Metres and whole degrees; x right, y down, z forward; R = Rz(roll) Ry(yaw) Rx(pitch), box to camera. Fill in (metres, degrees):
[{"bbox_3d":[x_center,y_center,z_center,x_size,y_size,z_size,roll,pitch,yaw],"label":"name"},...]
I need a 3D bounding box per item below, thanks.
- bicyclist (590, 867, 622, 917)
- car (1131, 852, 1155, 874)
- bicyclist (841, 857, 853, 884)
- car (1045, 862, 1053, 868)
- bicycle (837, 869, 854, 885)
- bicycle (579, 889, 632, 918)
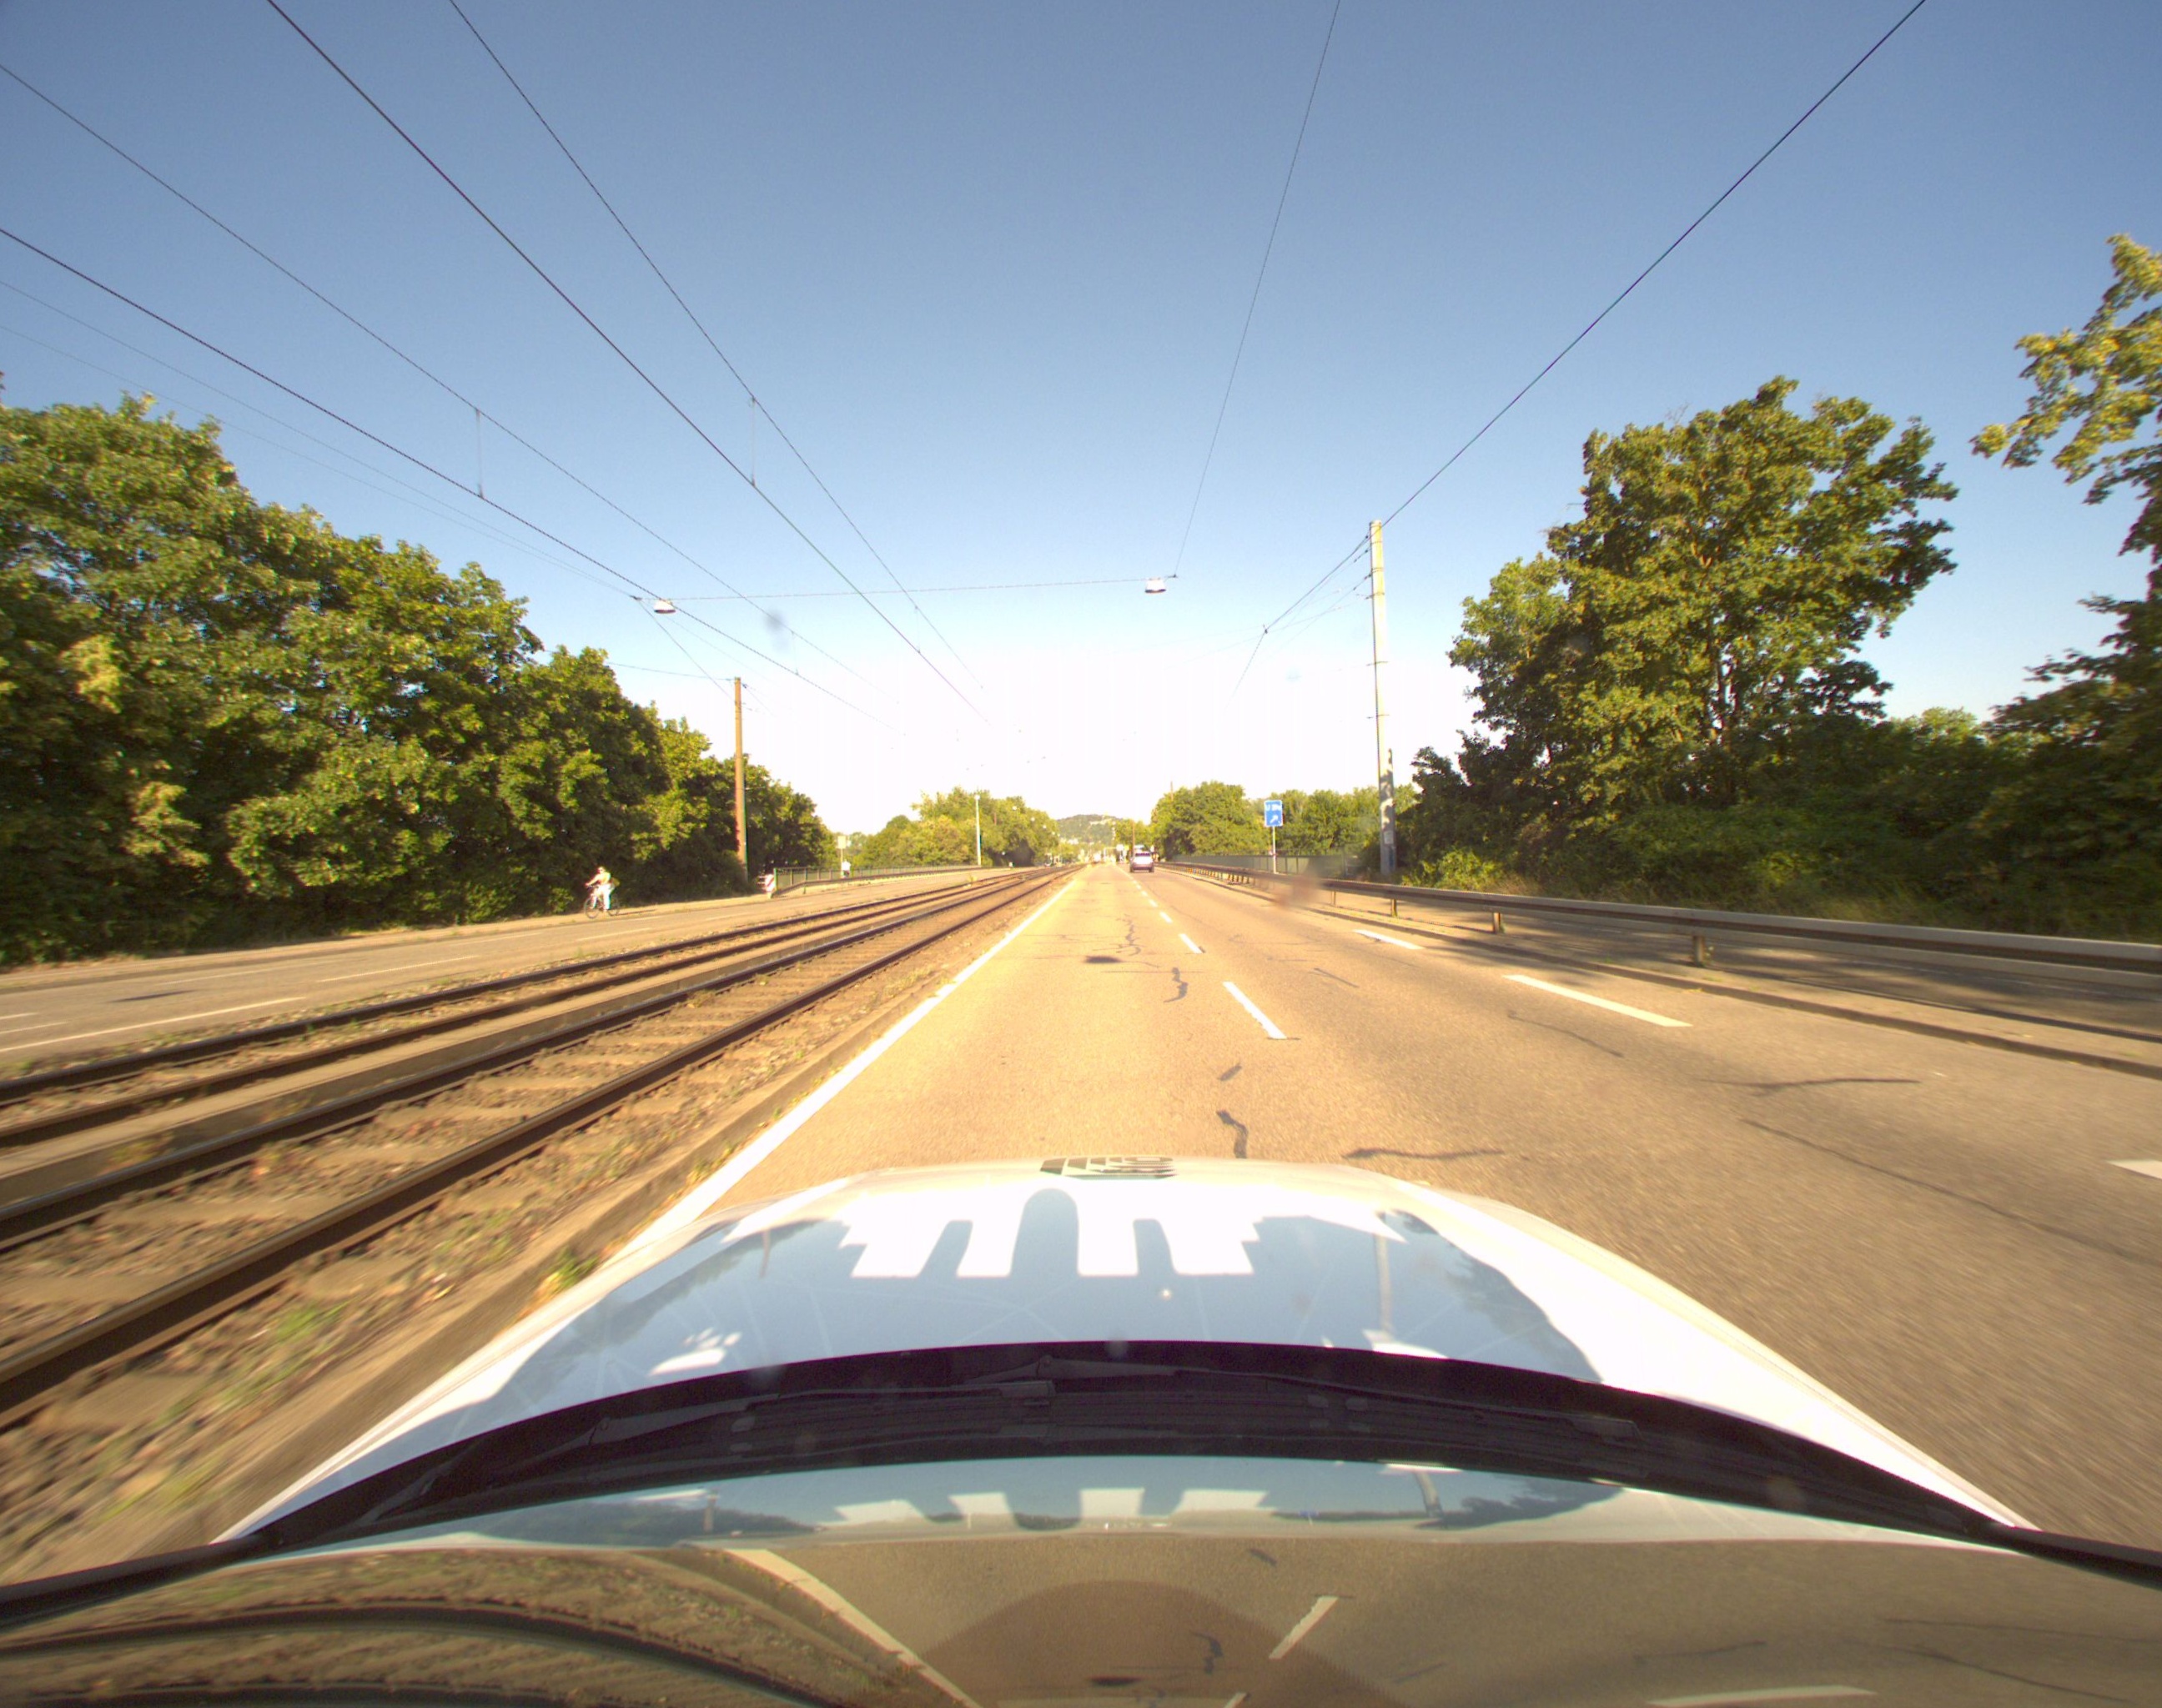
[{"bbox_3d":[-16.390,1.290,28.125,0.505,1.687,0.920,0,-1,5],"label":"bicyclist"},{"bbox_3d":[5.051,0.745,66.317,1.880,1.693,4.261,-1,0,4],"label":"car"},{"bbox_3d":[-15.910,1.110,55.379,0.538,1.862,0.875,0,-1,1],"label":"bicyclist"},{"bbox_3d":[-8.829,3.081,224.103,1.986,1.618,4.001,0,0,1],"label":"car"},{"bbox_3d":[-15.918,1.548,55.162,0.538,1.043,1.926,0,0,2],"label":"bicycle"},{"bbox_3d":[-16.391,1.697,28.123,0.505,0.892,2.030,0,0,5],"label":"bicycle"}]
